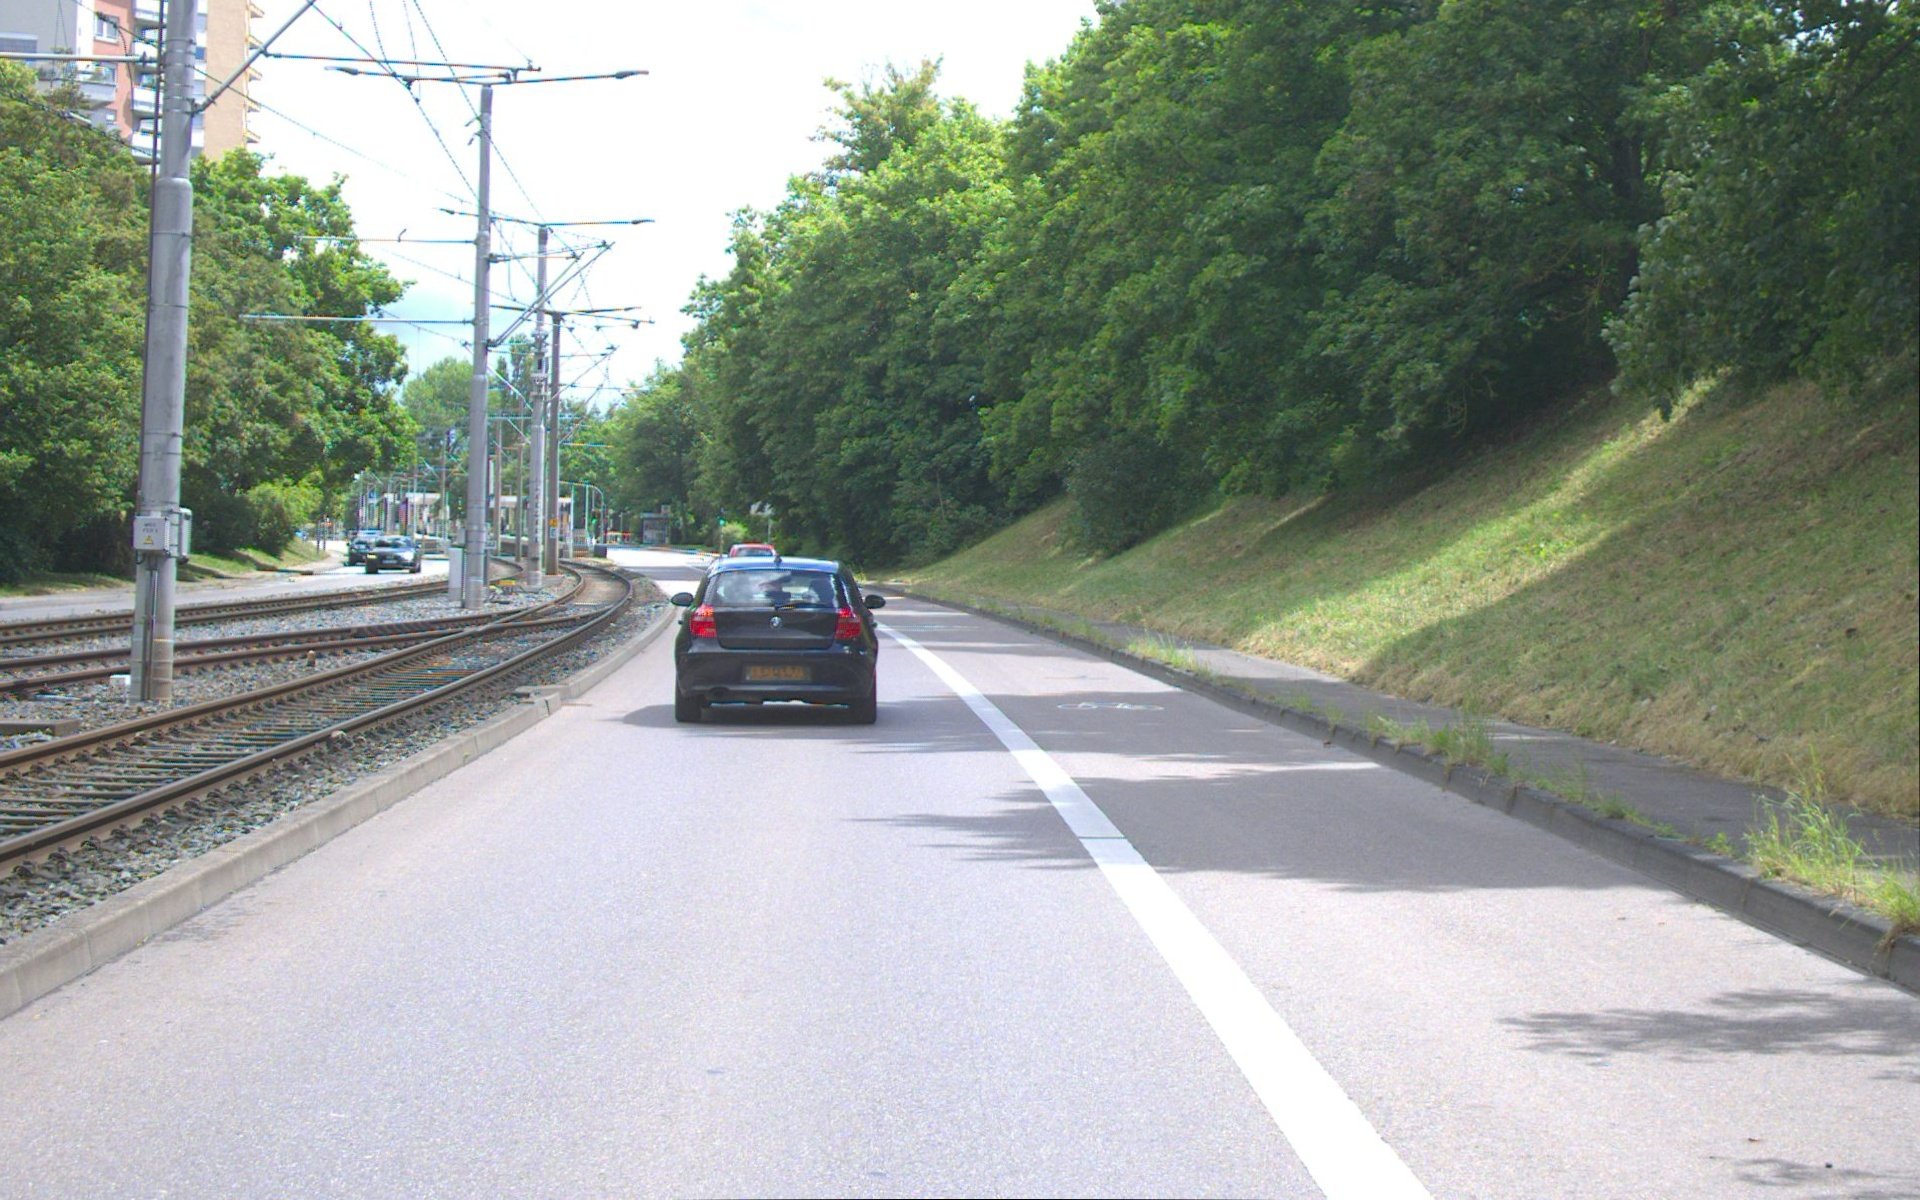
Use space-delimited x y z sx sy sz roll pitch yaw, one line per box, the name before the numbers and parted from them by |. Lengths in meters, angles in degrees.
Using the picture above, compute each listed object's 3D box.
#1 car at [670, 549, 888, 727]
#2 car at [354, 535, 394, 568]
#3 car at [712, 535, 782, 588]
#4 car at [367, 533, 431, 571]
car | -1.647 0.279 30.164 1.781 1.454 3.922 0 1 -5
car | -27.378 -2.256 160.688 1.774 1.493 3.998 1 1 -9
car | -6.081 -1.095 97.666 1.781 1.454 3.922 1 1 -6
car | -21.255 -1.814 130.410 1.835 1.386 4.862 -1 1 -3
